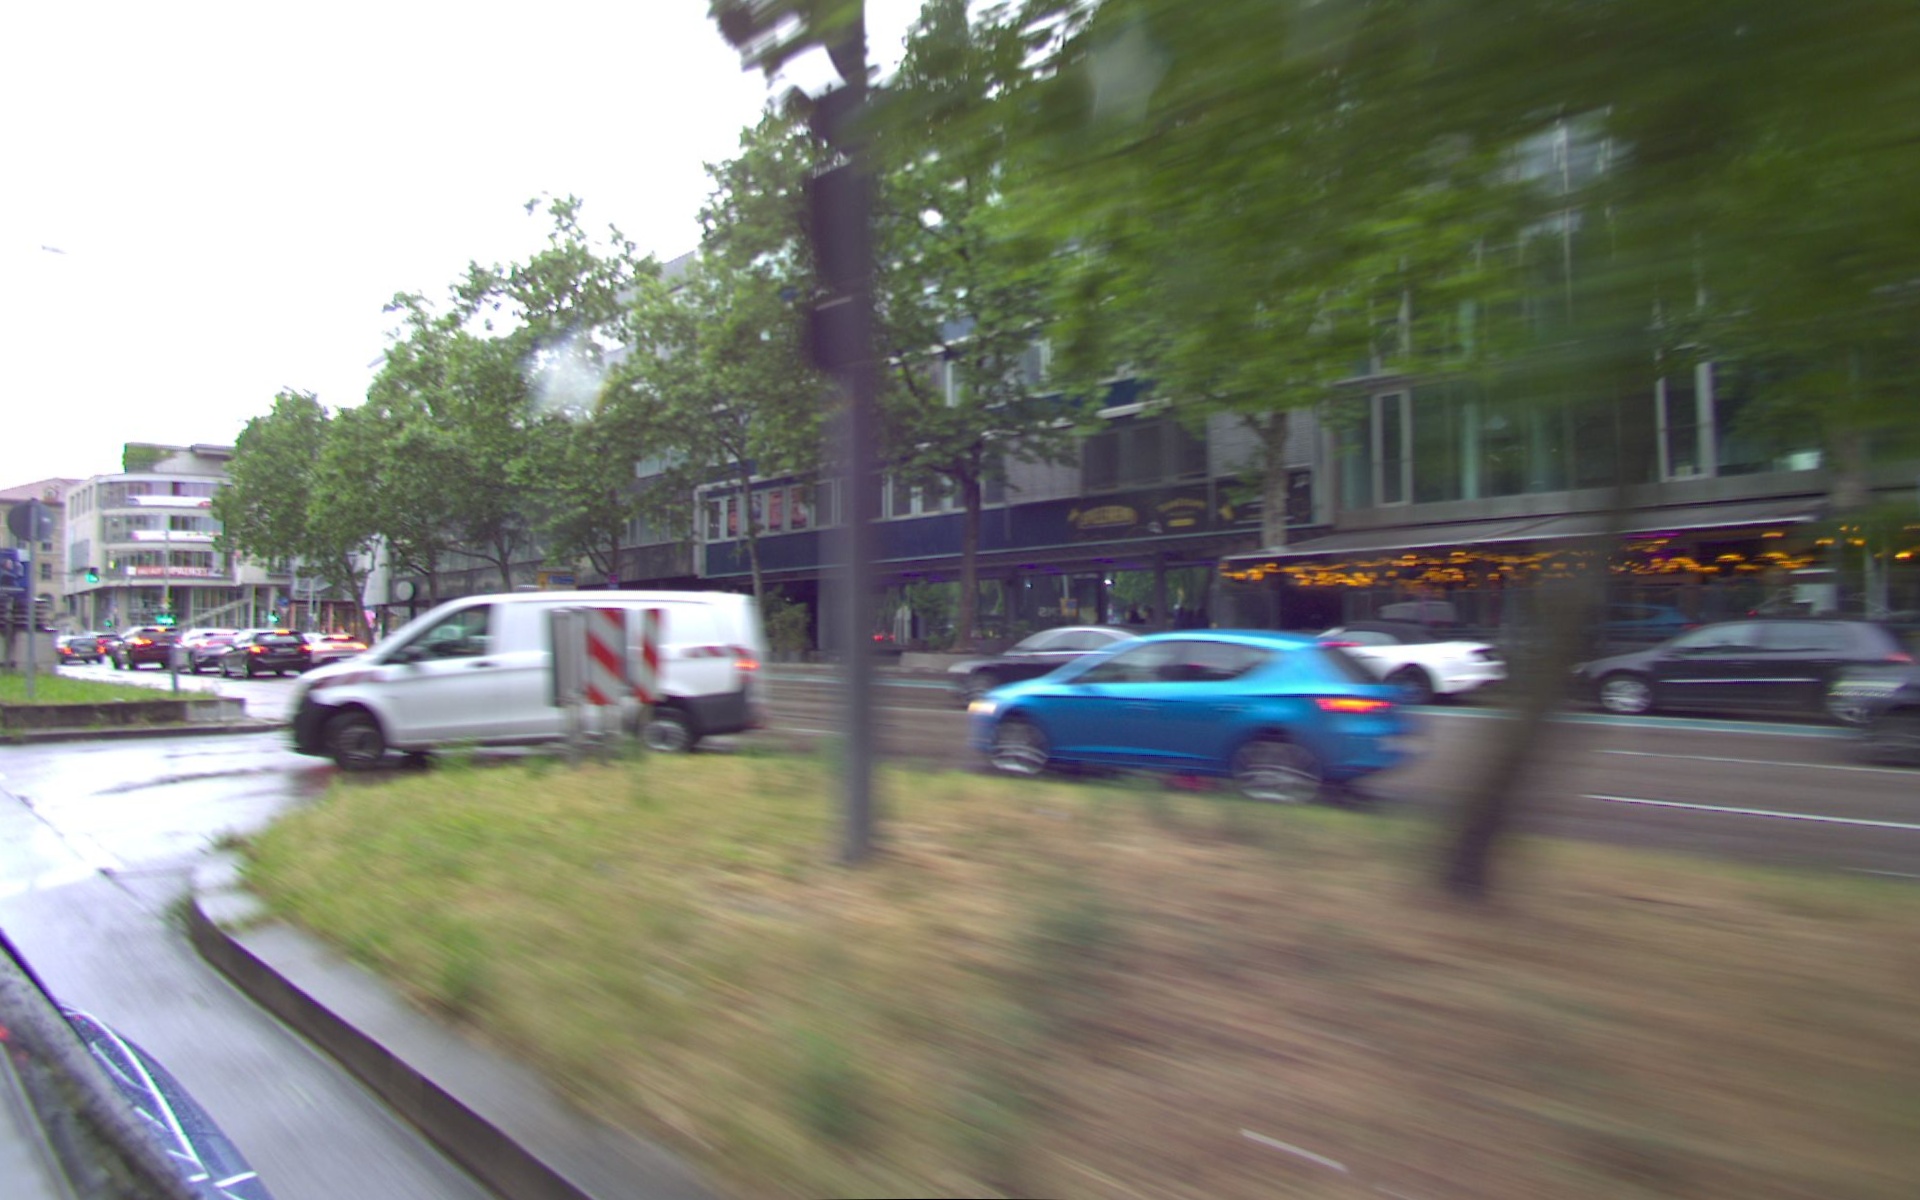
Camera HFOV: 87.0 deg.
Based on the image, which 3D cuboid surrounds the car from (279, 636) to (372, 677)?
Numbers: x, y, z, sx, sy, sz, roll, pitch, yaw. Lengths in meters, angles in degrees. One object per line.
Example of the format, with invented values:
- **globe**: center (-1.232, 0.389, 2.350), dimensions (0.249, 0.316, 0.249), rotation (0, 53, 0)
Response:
- **car**: center (-23.791, 2.112, 37.878), dimensions (1.944, 1.420, 4.960), rotation (1, -3, -44)

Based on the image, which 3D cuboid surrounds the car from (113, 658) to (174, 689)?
- **car**: center (-44.850, 4.017, 55.579), dimensions (3.994, 1.577, 1.736), rotation (-2, -3, 38)

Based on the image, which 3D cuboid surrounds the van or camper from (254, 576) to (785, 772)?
- **van or camper**: center (-4.705, 0.786, 11.510), dimensions (5.172, 1.928, 2.002), rotation (-1, -2, -4)

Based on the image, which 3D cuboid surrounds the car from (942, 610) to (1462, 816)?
- **car**: center (2.088, 0.942, 9.545), dimensions (4.393, 1.493, 1.824), rotation (-4, -3, 41)

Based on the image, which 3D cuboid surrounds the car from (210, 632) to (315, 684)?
- **car**: center (-22.788, 1.859, 32.998), dimensions (4.541, 1.564, 1.893), rotation (-3, -3, 43)

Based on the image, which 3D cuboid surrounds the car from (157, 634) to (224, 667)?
- **car**: center (-38.486, 2.523, 50.599), dimensions (3.994, 1.577, 1.736), rotation (-2, -2, 38)

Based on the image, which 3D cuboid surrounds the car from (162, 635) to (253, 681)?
- **car**: center (-27.922, 2.116, 37.488), dimensions (4.829, 1.585, 1.716), rotation (-3, -3, 41)

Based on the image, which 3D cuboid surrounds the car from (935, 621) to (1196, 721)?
- **car**: center (1.688, 1.131, 16.996), dimensions (4.090, 1.487, 1.733), rotation (-2, -3, 38)

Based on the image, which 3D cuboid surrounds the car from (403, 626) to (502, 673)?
- **car**: center (-19.150, 1.859, 38.100), dimensions (4.544, 1.627, 1.743), rotation (-3, -2, 41)

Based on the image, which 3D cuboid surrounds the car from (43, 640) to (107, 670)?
- **car**: center (-46.116, 2.841, 52.699), dimensions (4.913, 1.462, 1.824), rotation (-3, -3, 41)

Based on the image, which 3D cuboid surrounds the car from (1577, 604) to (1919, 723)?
- **car**: center (11.481, 0.895, 14.744), dimensions (3.997, 1.519, 1.818), rotation (-3, -3, 41)

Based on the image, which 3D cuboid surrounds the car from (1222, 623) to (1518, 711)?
- **car**: center (7.268, 1.180, 18.288), dimensions (4.680, 1.364, 1.543), rotation (-3, -2, 41)

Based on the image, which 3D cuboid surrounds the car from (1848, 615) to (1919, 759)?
- **car**: center (10.673, 0.808, 9.795), dimensions (3.047, 1.378, 1.700), rotation (-4, -3, 42)

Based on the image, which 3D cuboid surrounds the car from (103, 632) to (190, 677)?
- **car**: center (-34.061, 2.279, 42.318), dimensions (5.103, 1.780, 1.817), rotation (-3, -3, 39)
